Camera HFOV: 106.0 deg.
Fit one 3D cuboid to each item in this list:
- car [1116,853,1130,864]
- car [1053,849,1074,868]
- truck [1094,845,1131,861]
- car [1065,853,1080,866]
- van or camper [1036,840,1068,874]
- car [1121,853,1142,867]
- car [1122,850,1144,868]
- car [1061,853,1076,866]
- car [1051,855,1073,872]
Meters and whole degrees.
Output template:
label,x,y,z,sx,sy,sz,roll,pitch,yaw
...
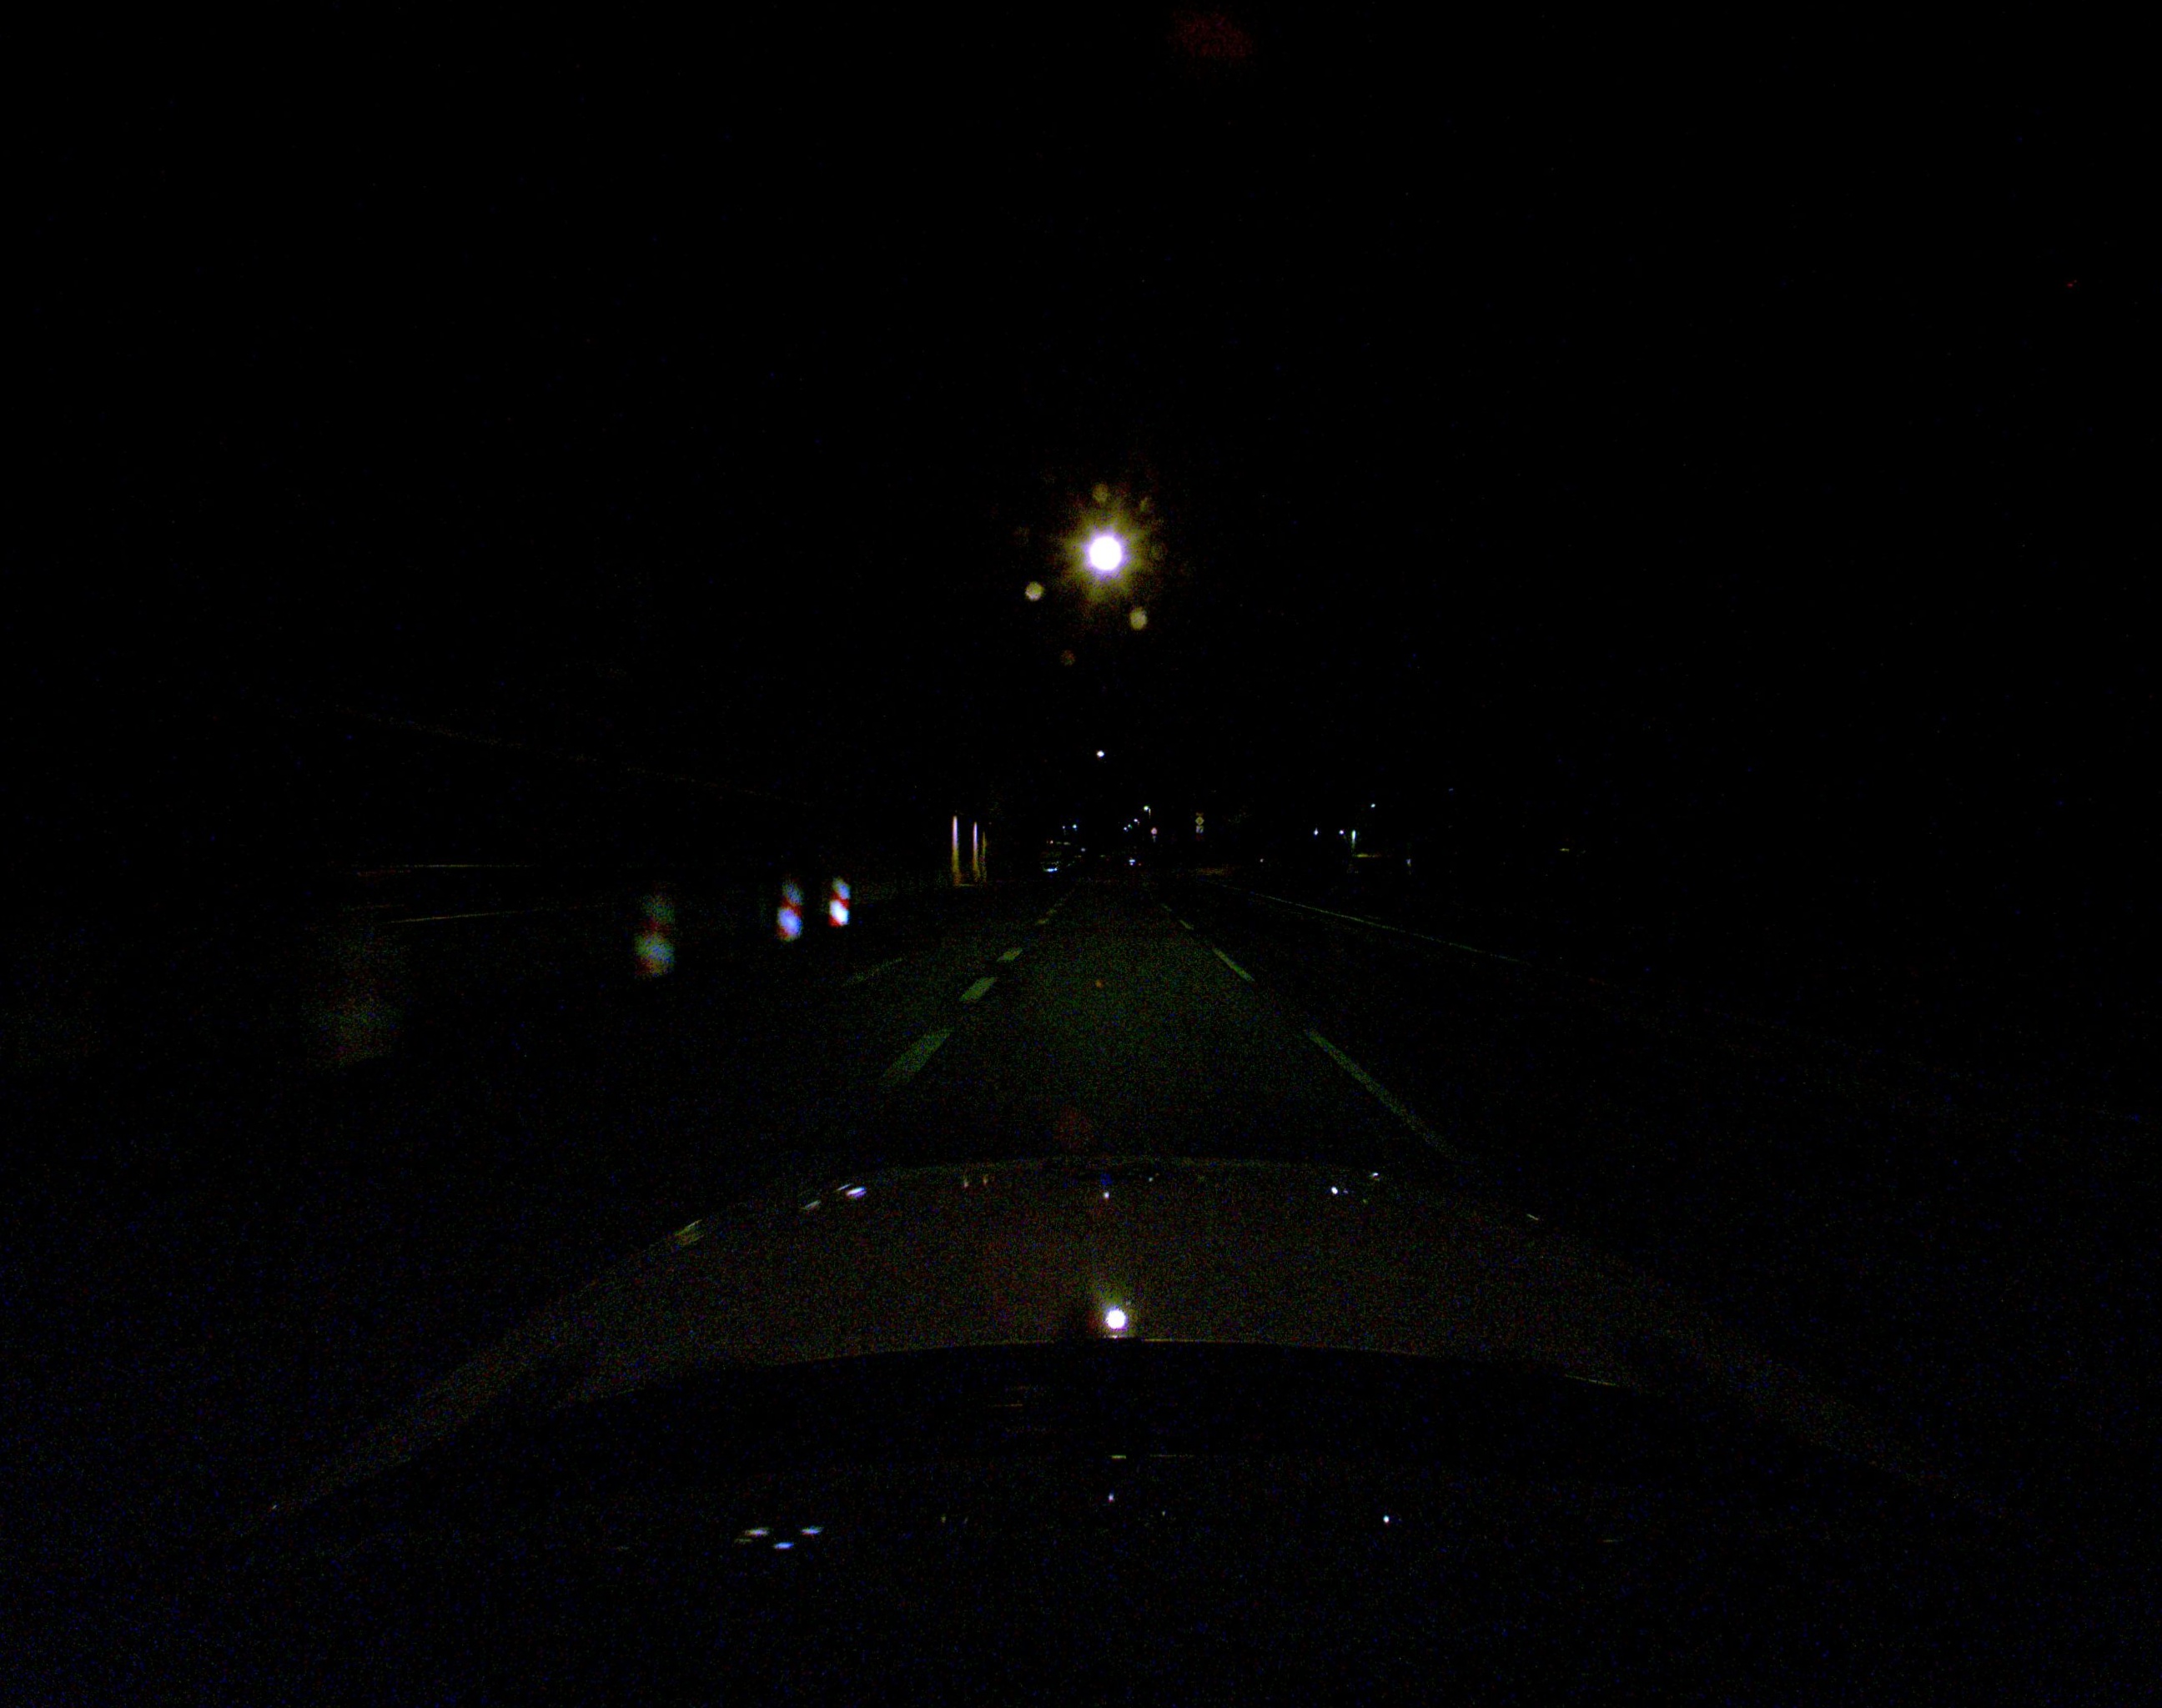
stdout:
label,x,y,z,sx,sy,sz,roll,pitch,yaw
car,5.693,0.626,111.251,1.752,1.445,4.026,-2,0,1
car,-1.863,0.523,88.282,1.986,1.955,4.807,-1,0,2
truck,5.973,-0.186,154.703,6.758,2.844,1.999,0,0,-2
car,-1.076,0.730,106.087,1.671,1.566,4.106,-1,-1,1
van or camper,-2.290,0.265,66.773,2.150,2.535,6.228,-3,0,1
car,5.077,0.639,82.451,1.956,1.383,4.002,-1,-1,2
car,4.930,0.501,77.107,1.876,1.603,4.111,-2,-1,4
car,-1.545,0.713,100.236,1.699,1.510,4.100,0,-1,1
car,-1.855,0.862,77.814,1.836,1.507,4.733,-2,0,-5
